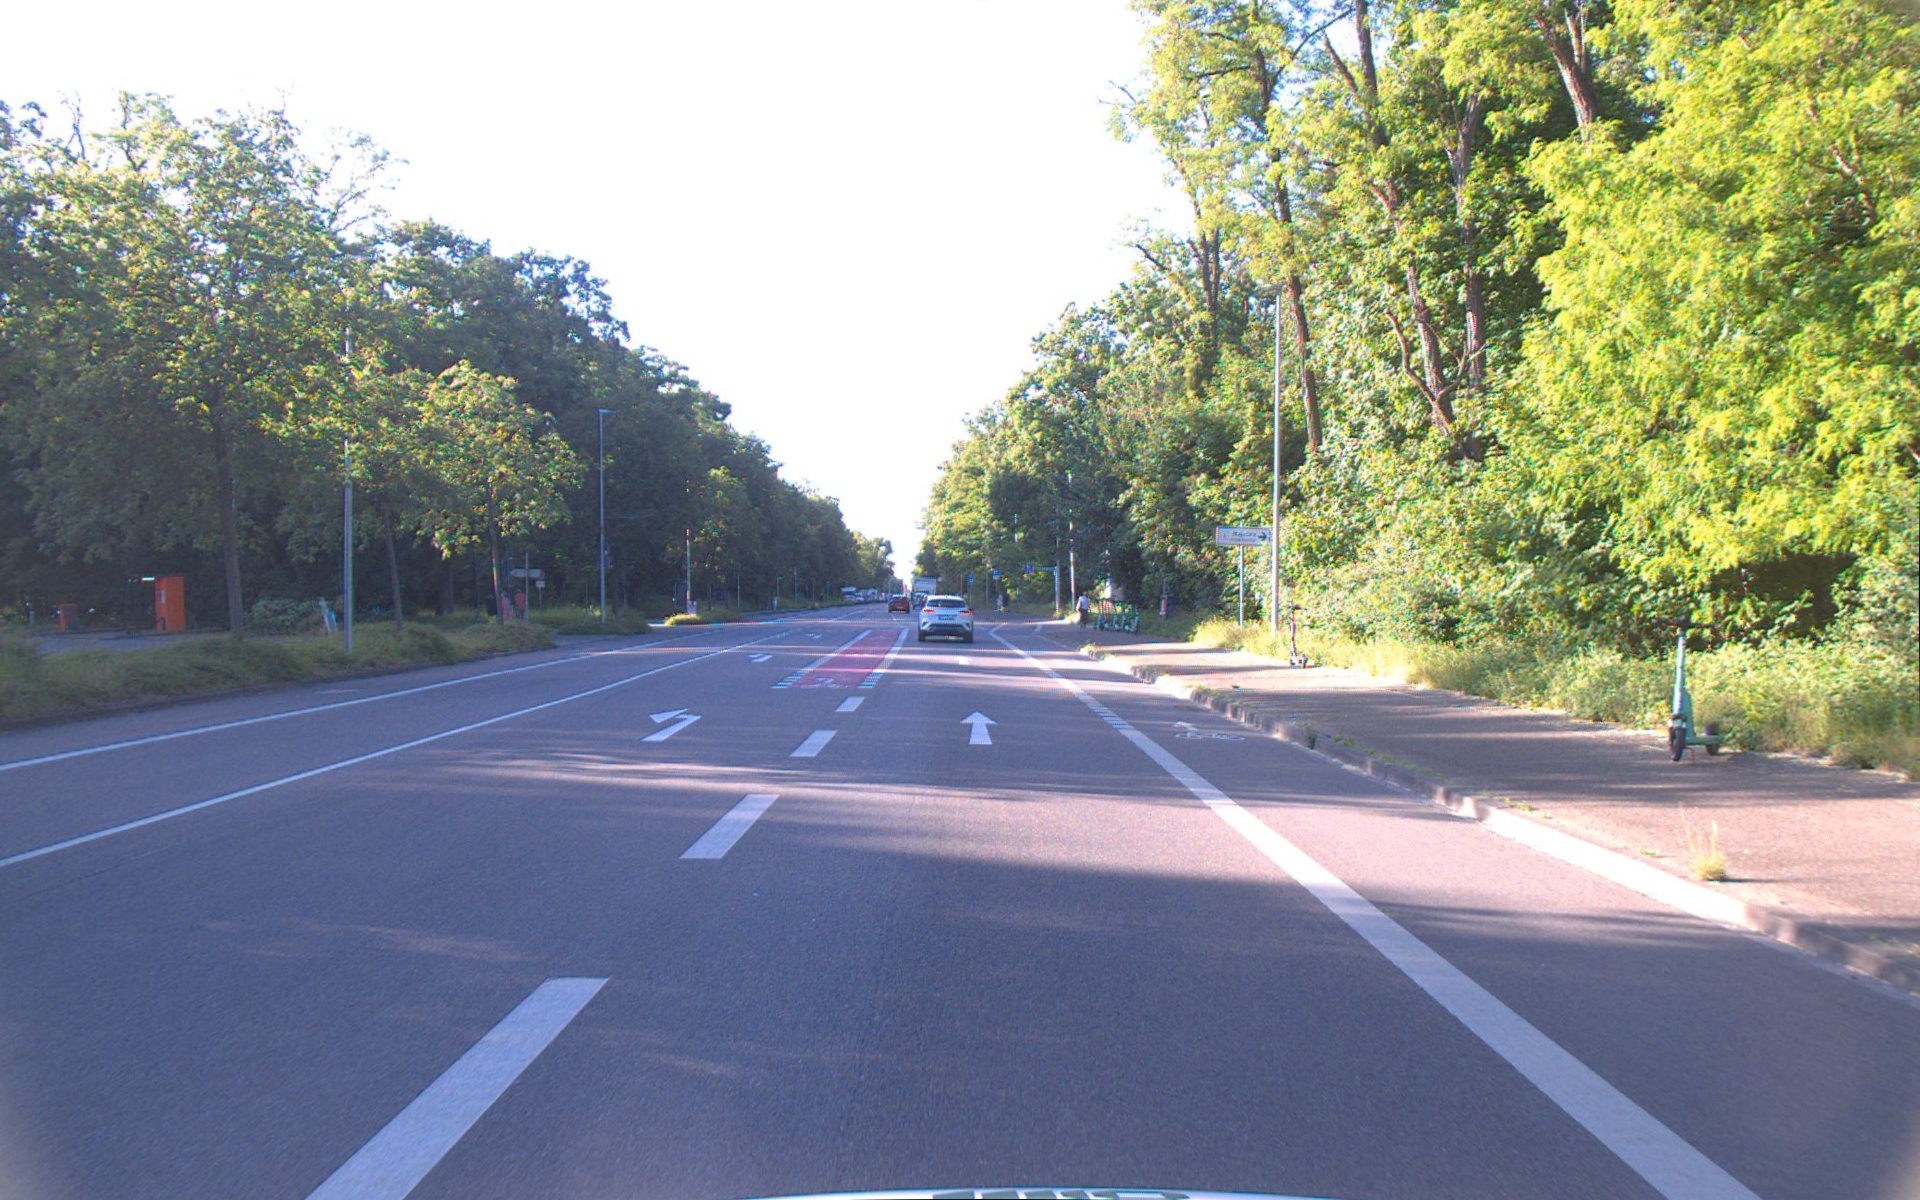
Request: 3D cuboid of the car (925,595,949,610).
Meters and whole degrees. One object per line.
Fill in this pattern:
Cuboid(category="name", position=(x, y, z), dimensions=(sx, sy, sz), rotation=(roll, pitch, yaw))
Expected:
Cuboid(category="car", position=(-2.158, 0.207, 156.293), dimensions=(1.954, 1.350, 3.996), rotation=(-1, 0, -5))

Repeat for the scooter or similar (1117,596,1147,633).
Cuboid(category="scooter or similar", position=(6.258, 0.517, 60.207), dimensions=(0.459, 1.329, 1.470), rotation=(-1, 0, -23))

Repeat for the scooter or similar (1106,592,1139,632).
Cuboid(category="scooter or similar", position=(6.108, 0.444, 62.301), dimensions=(0.670, 1.448, 1.675), rotation=(-1, 0, -15))

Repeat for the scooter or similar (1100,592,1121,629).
Cuboid(category="scooter or similar", position=(6.126, 0.419, 67.365), dimensions=(0.668, 1.448, 1.681), rotation=(-1, 0, -1))

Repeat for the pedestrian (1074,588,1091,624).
Cuboid(category="pedestrian", position=(5.573, 0.264, 75.203), dimensions=(0.739, 1.591, 0.803), rotation=(-1, 0, 3))

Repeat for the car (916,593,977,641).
Cuboid(category="car", position=(-0.493, 0.532, 54.906), dimensions=(1.727, 1.485, 3.814), rotation=(1, 0, -5))

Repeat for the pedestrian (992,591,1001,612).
Cuboid(category="pedestrian", position=(2.869, 0.107, 129.591), dimensions=(0.684, 1.682, 0.876), rotation=(-1, 0, -2))

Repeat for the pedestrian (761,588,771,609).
Cuboid(category="pedestrian", position=(-19.326, -0.160, 164.996), dimensions=(0.845, 2.049, 1.269), rotation=(-1, 0, 1))

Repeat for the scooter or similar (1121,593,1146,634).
Cuboid(category="scooter or similar", position=(6.120, 0.465, 58.350), dimensions=(0.668, 1.448, 1.681), rotation=(-1, 0, -2))

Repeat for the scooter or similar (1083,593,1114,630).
Cuboid(category="scooter or similar", position=(5.520, 0.438, 66.040), dimensions=(0.671, 1.448, 1.674), rotation=(-1, 0, -17))

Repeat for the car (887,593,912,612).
Cuboid(category="car", position=(-5.003, 0.194, 136.563), dimensions=(1.953, 1.545, 3.999), rotation=(-1, 0, -1))

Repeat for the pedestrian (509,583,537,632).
Cuboid(category="pedestrian", position=(-18.262, 0.314, 69.144), dimensions=(0.703, 2.049, 0.873), rotation=(-1, 0, 30))

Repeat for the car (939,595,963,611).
Cuboid(category="car", position=(-0.786, 0.258, 140.626), dimensions=(1.953, 1.350, 3.999), rotation=(-1, 0, -2))

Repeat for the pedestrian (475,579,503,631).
Cuboid(category="pedestrian", position=(-18.811, 0.193, 66.070), dimensions=(0.703, 2.049, 0.796), rotation=(-1, 0, 26))

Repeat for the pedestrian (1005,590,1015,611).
Cuboid(category="pedestrian", position=(3.896, 0.033, 129.636), dimensions=(0.728, 1.627, 0.797), rotation=(-1, 0, -2))

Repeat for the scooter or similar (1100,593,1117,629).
Cuboid(category="scooter or similar", position=(6.199, 0.450, 68.879), dimensions=(0.667, 1.448, 1.246), rotation=(-1, 0, 7))

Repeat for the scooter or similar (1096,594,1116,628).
Cuboid(category="scooter or similar", position=(6.215, 0.452, 70.419), dimensions=(0.668, 1.448, 1.681), rotation=(-1, 0, -1))

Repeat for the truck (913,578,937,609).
Cuboid(category="truck", position=(-4.260, -0.815, 200.007), dimensions=(2.743, 3.632, 8.030), rotation=(1, 0, -3))

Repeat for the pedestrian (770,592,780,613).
Cuboid(category="pedestrian", position=(-18.461, 0.263, 164.995), dimensions=(0.814, 2.049, 1.269), rotation=(-1, 0, 0))

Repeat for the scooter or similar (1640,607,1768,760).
Cuboid(category="scooter or similar", position=(6.643, 0.713, 14.738), dimensions=(1.530, 1.272, 0.526), rotation=(-1, 0, -45))

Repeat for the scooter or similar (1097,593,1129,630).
Cuboid(category="scooter or similar", position=(5.951, 0.439, 64.370), dimensions=(0.671, 1.448, 1.674), rotation=(-1, 0, -17))

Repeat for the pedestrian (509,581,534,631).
Cuboid(category="pedestrian", position=(-18.315, 0.252, 69.077), dimensions=(0.703, 2.049, 0.746), rotation=(-1, 0, 30))

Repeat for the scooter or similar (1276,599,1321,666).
Cuboid(category="scooter or similar", position=(6.657, 0.621, 32.592), dimensions=(0.522, 1.272, 1.541), rotation=(-1, 0, -1))

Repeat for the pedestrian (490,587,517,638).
Cuboid(category="pedestrian", position=(-18.441, 0.519, 66.832), dimensions=(0.703, 2.049, 0.796), rotation=(-1, 0, 26))
